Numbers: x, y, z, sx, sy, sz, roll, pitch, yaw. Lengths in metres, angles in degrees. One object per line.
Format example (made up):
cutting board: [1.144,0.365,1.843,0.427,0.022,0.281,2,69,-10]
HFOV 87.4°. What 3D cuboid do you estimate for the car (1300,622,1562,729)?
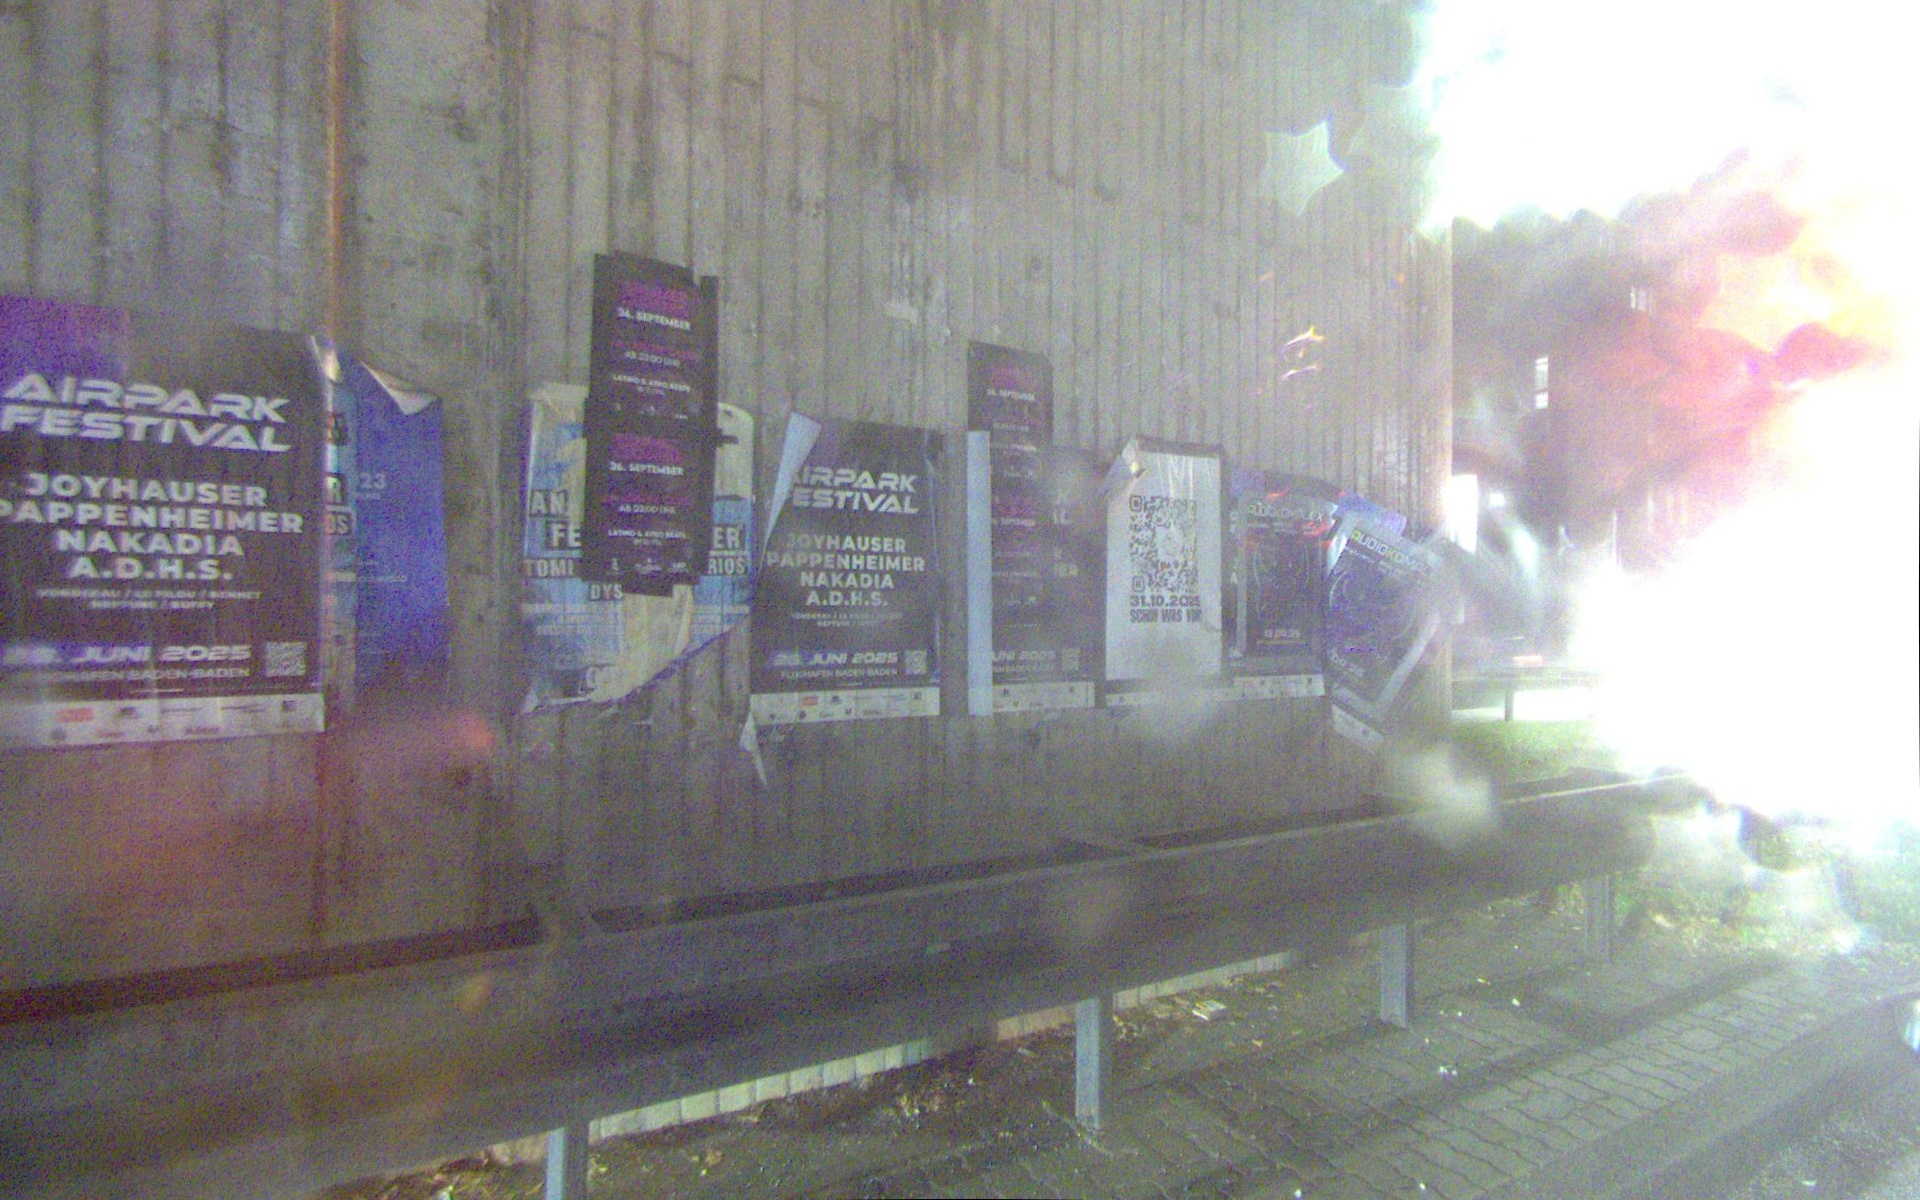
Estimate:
car: [8.017,1.213,17.010,4.382,1.572,1.876,2,-1,-30]

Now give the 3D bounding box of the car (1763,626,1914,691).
car: [23.261,1.522,26.567,4.280,1.590,1.762,2,-2,-30]
